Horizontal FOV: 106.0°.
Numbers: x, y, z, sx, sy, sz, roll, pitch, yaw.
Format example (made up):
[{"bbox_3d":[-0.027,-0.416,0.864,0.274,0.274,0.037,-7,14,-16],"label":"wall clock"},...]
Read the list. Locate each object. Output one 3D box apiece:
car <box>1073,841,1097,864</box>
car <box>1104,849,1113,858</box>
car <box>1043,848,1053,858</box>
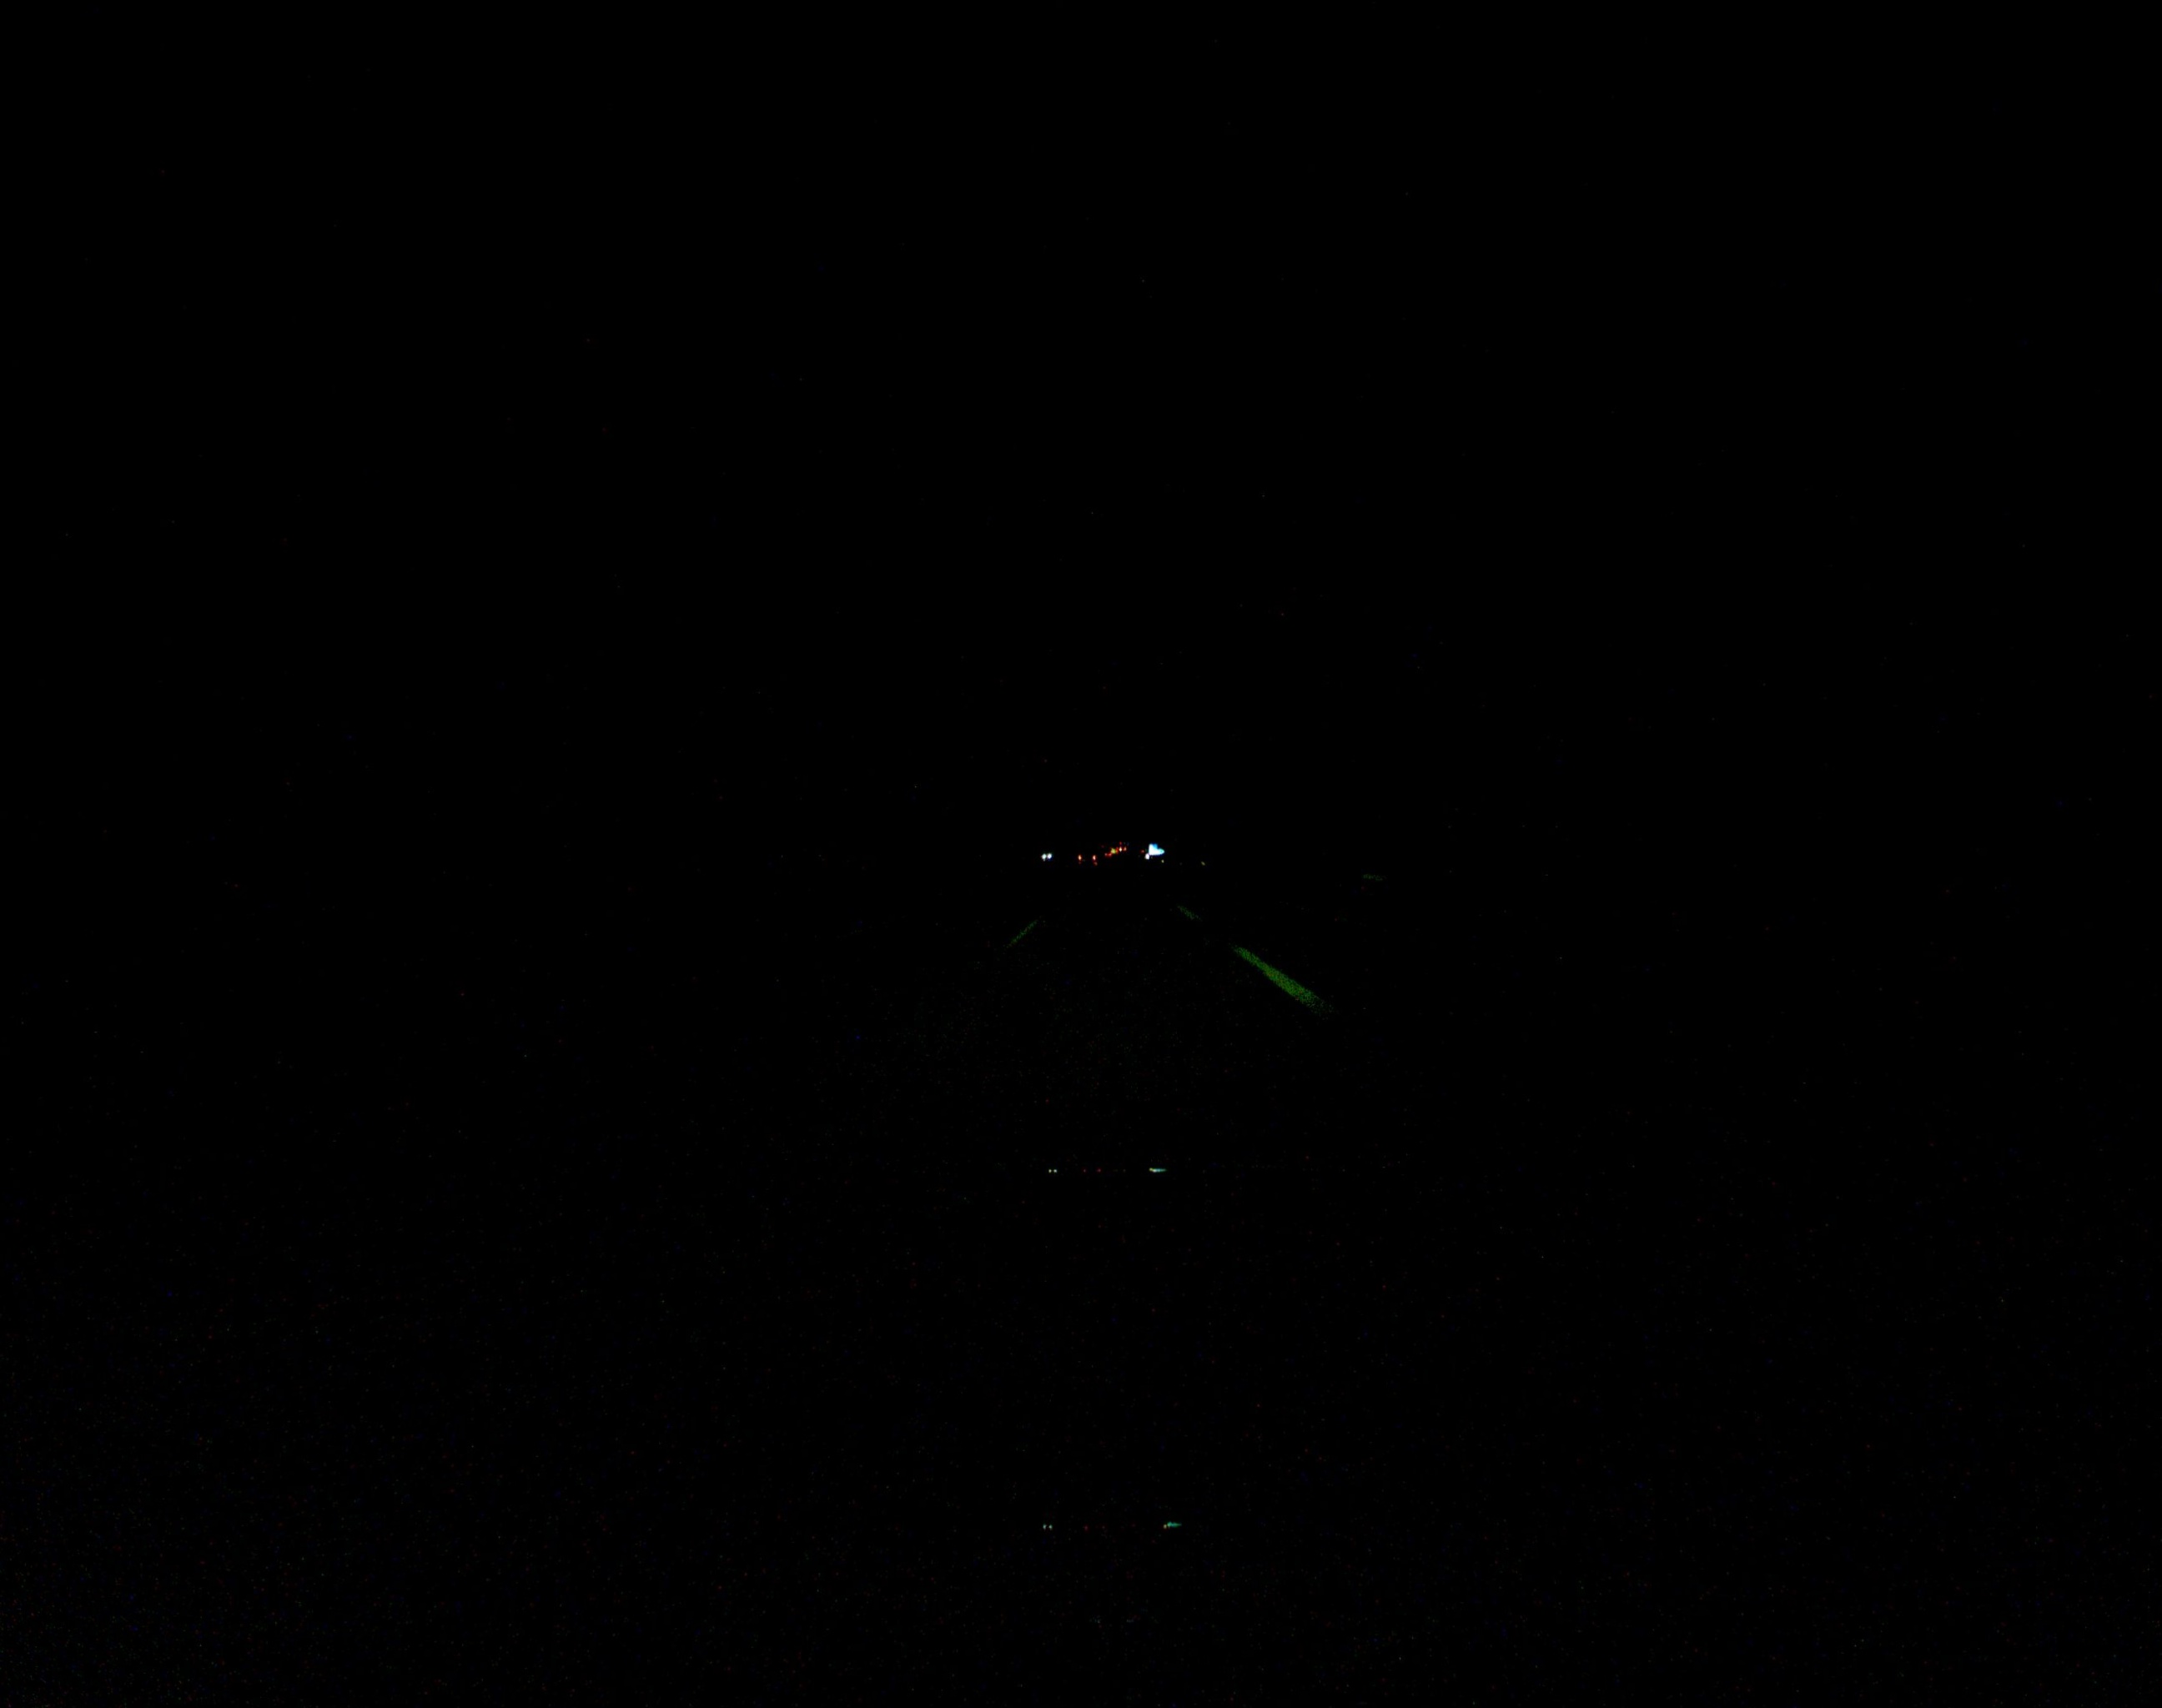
[{"bbox_3d":[0.601,-0.165,104.797,2.775,2.733,6.302,-1,-1,2],"label":"car"},{"bbox_3d":[8.563,-0.205,258.059,2.776,2.733,6.300,-1,-1,2],"label":"car"},{"bbox_3d":[-10.328,-0.345,256.057,2.835,2.937,6.605,0,0,2],"label":"car"}]
